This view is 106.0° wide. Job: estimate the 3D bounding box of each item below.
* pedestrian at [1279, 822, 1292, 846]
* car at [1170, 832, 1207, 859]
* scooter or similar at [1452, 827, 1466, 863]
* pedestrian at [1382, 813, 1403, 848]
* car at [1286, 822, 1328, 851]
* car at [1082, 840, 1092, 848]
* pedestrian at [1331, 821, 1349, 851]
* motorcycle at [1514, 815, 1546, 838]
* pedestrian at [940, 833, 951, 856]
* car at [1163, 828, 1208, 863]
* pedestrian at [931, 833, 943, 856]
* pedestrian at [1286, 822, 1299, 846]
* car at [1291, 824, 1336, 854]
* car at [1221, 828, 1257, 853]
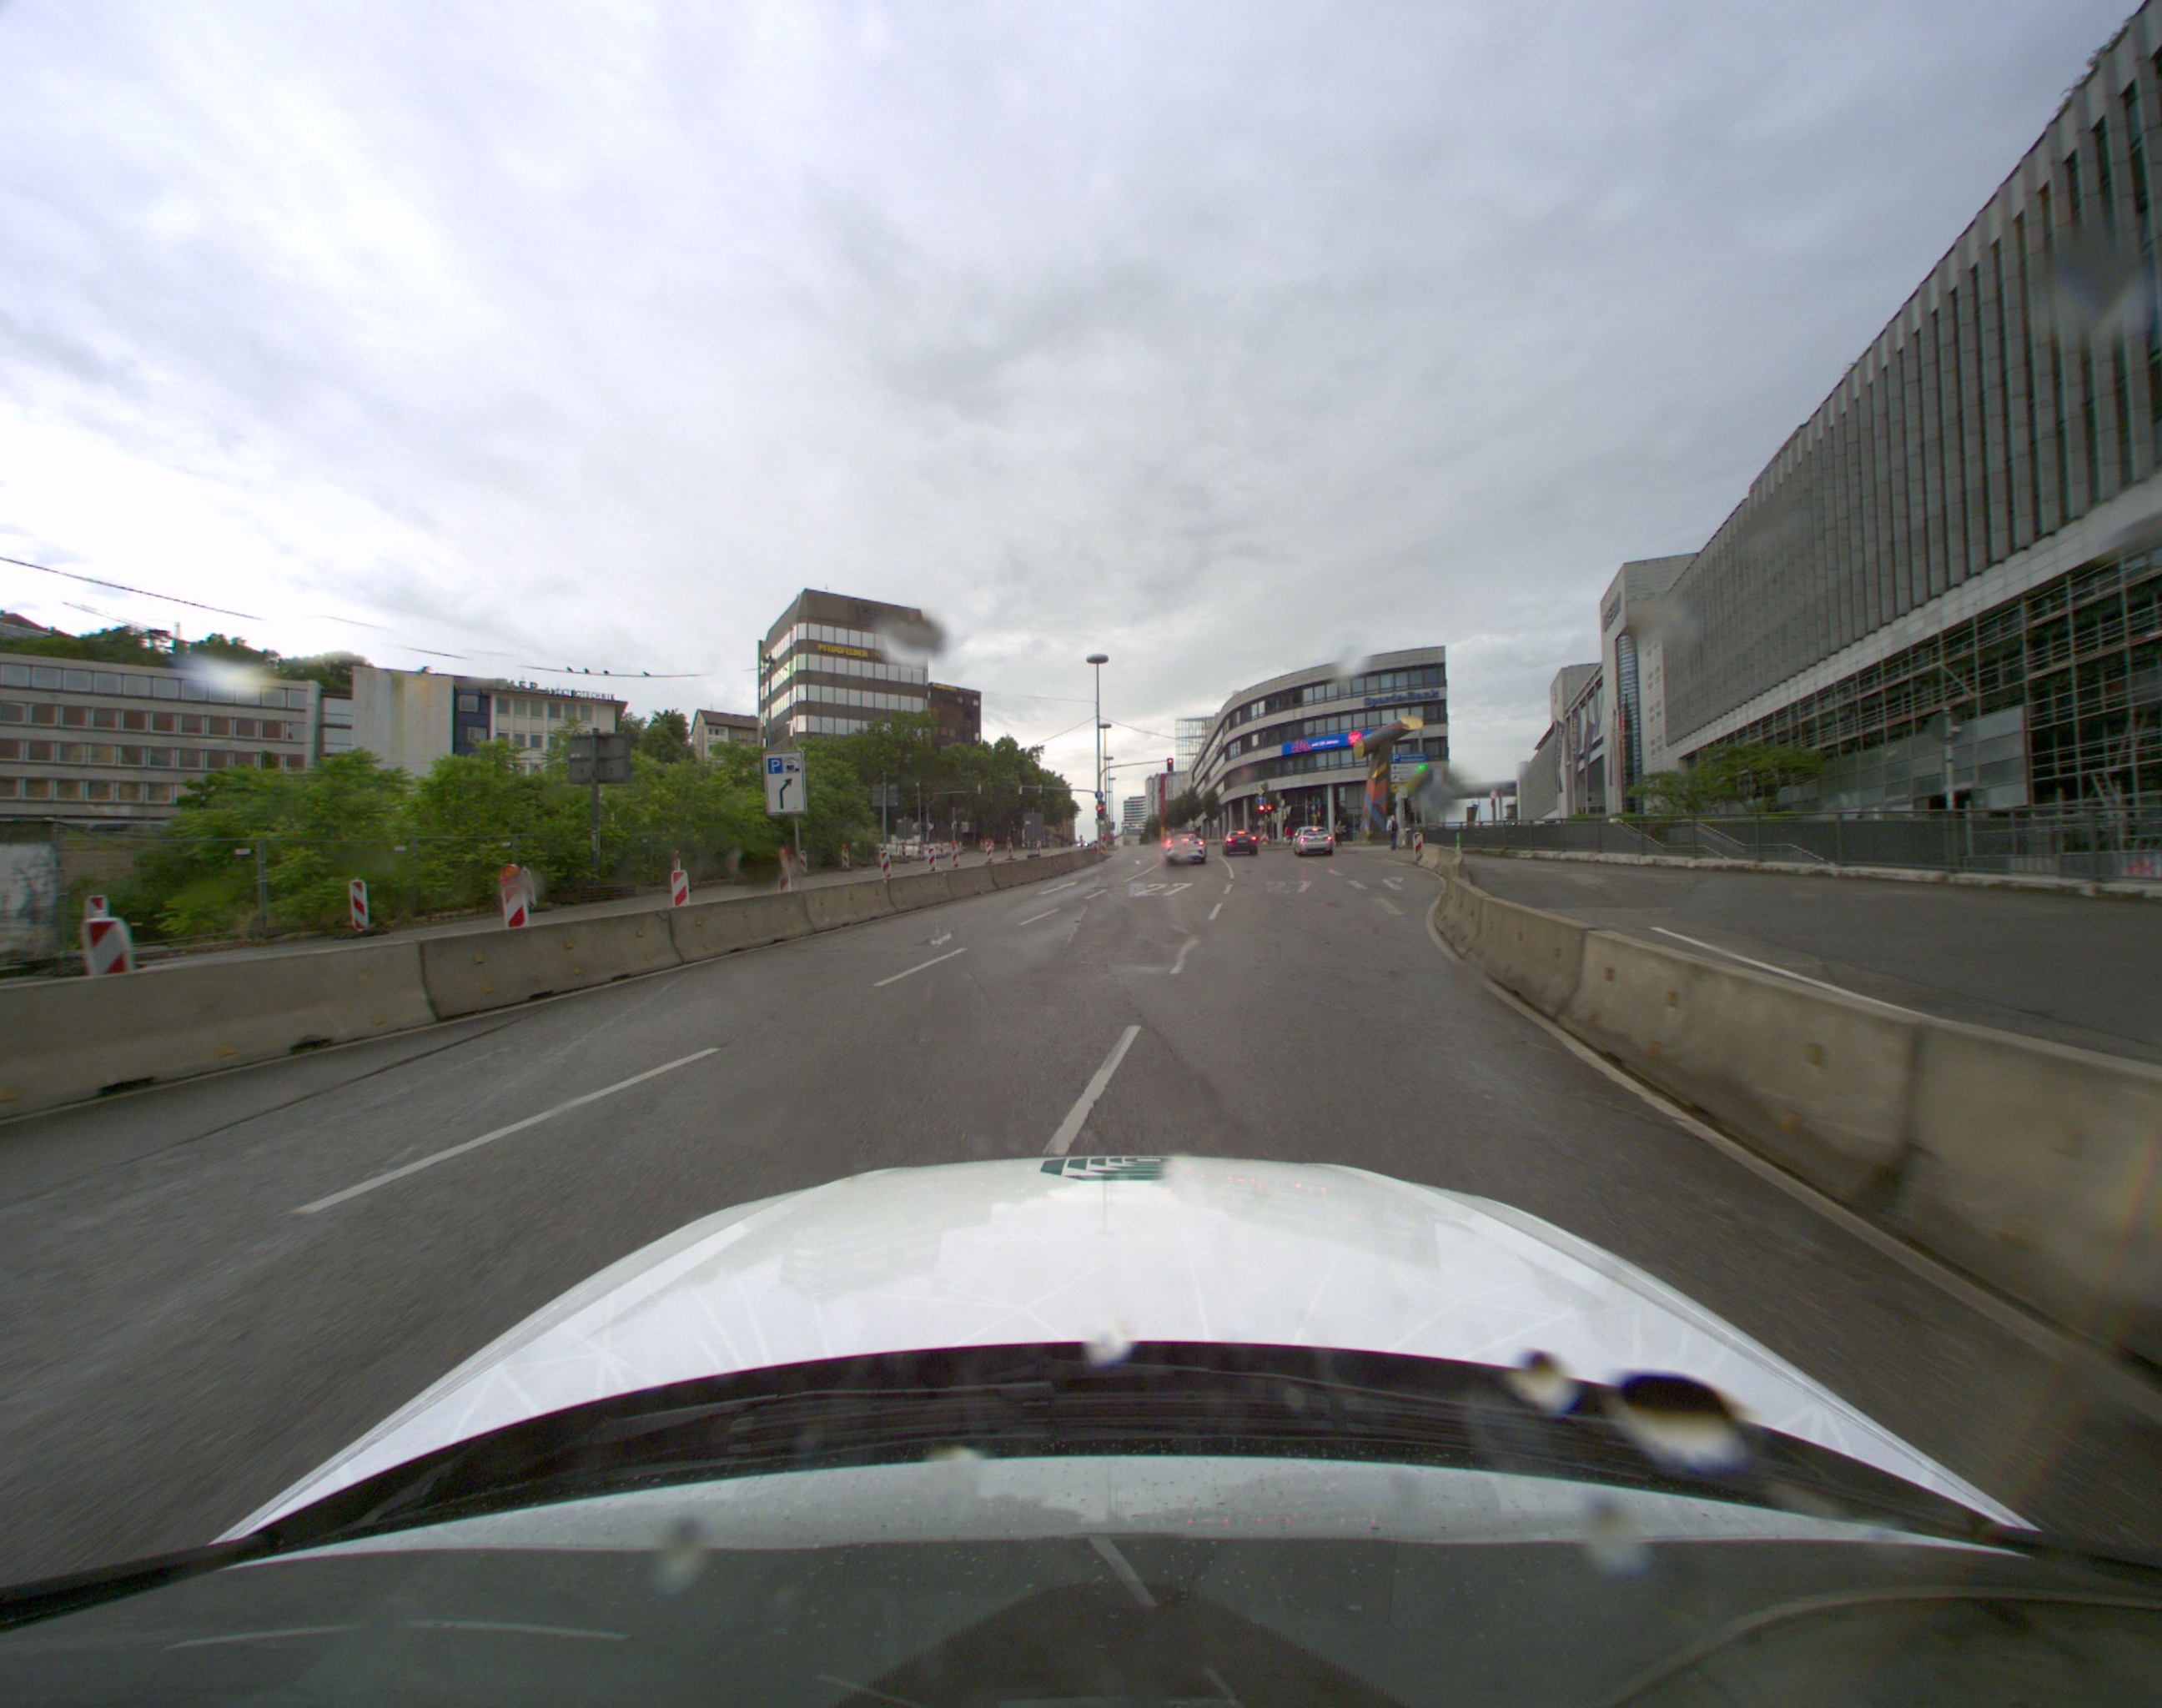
[{"bbox_3d":[16.845,-1.664,67.116,0.832,1.905,0.866,-2,-1,29],"label":"pedestrian"},{"bbox_3d":[6.226,-0.518,47.512,1.733,1.443,4.001,-1,1,1],"label":"car"},{"bbox_3d":[12.327,-0.289,26.559,0.346,1.162,0.575,-1,0,19],"label":"scooter or similar"},{"bbox_3d":[15.939,-1.188,41.655,0.726,1.711,0.844,-1,-1,3],"label":"pedestrian"},{"bbox_3d":[13.722,-1.106,49.200,1.755,1.634,4.607,-1,1,24],"label":"car"},{"bbox_3d":[1.219,-1.976,160.535,1.754,1.460,4.364,-3,1,3],"label":"car"},{"bbox_3d":[18.712,-1.303,58.848,0.855,2.098,0.898,0,1,-20],"label":"pedestrian"},{"bbox_3d":[28.150,-1.710,51.070,1.721,1.354,0.606,-3,1,-4],"label":"motorcycle"},{"bbox_3d":[-11.305,-0.774,67.906,0.669,1.901,0.777,-1,-1,6],"label":"pedestrian"},{"bbox_3d":[5.049,-0.452,38.998,1.952,1.548,4.229,-1,1,8],"label":"car"},{"bbox_3d":[-12.032,-0.773,68.001,0.757,1.922,0.743,-1,-1,6],"label":"pedestrian"},{"bbox_3d":[17.614,-1.671,67.900,0.832,1.904,0.736,-2,0,29],"label":"pedestrian"},{"bbox_3d":[12.092,-0.772,42.541,1.691,1.451,4.627,-1,0,9],"label":"car"},{"bbox_3d":[9.042,-0.753,46.745,1.745,1.407,4.236,0,0,7],"label":"car"}]
